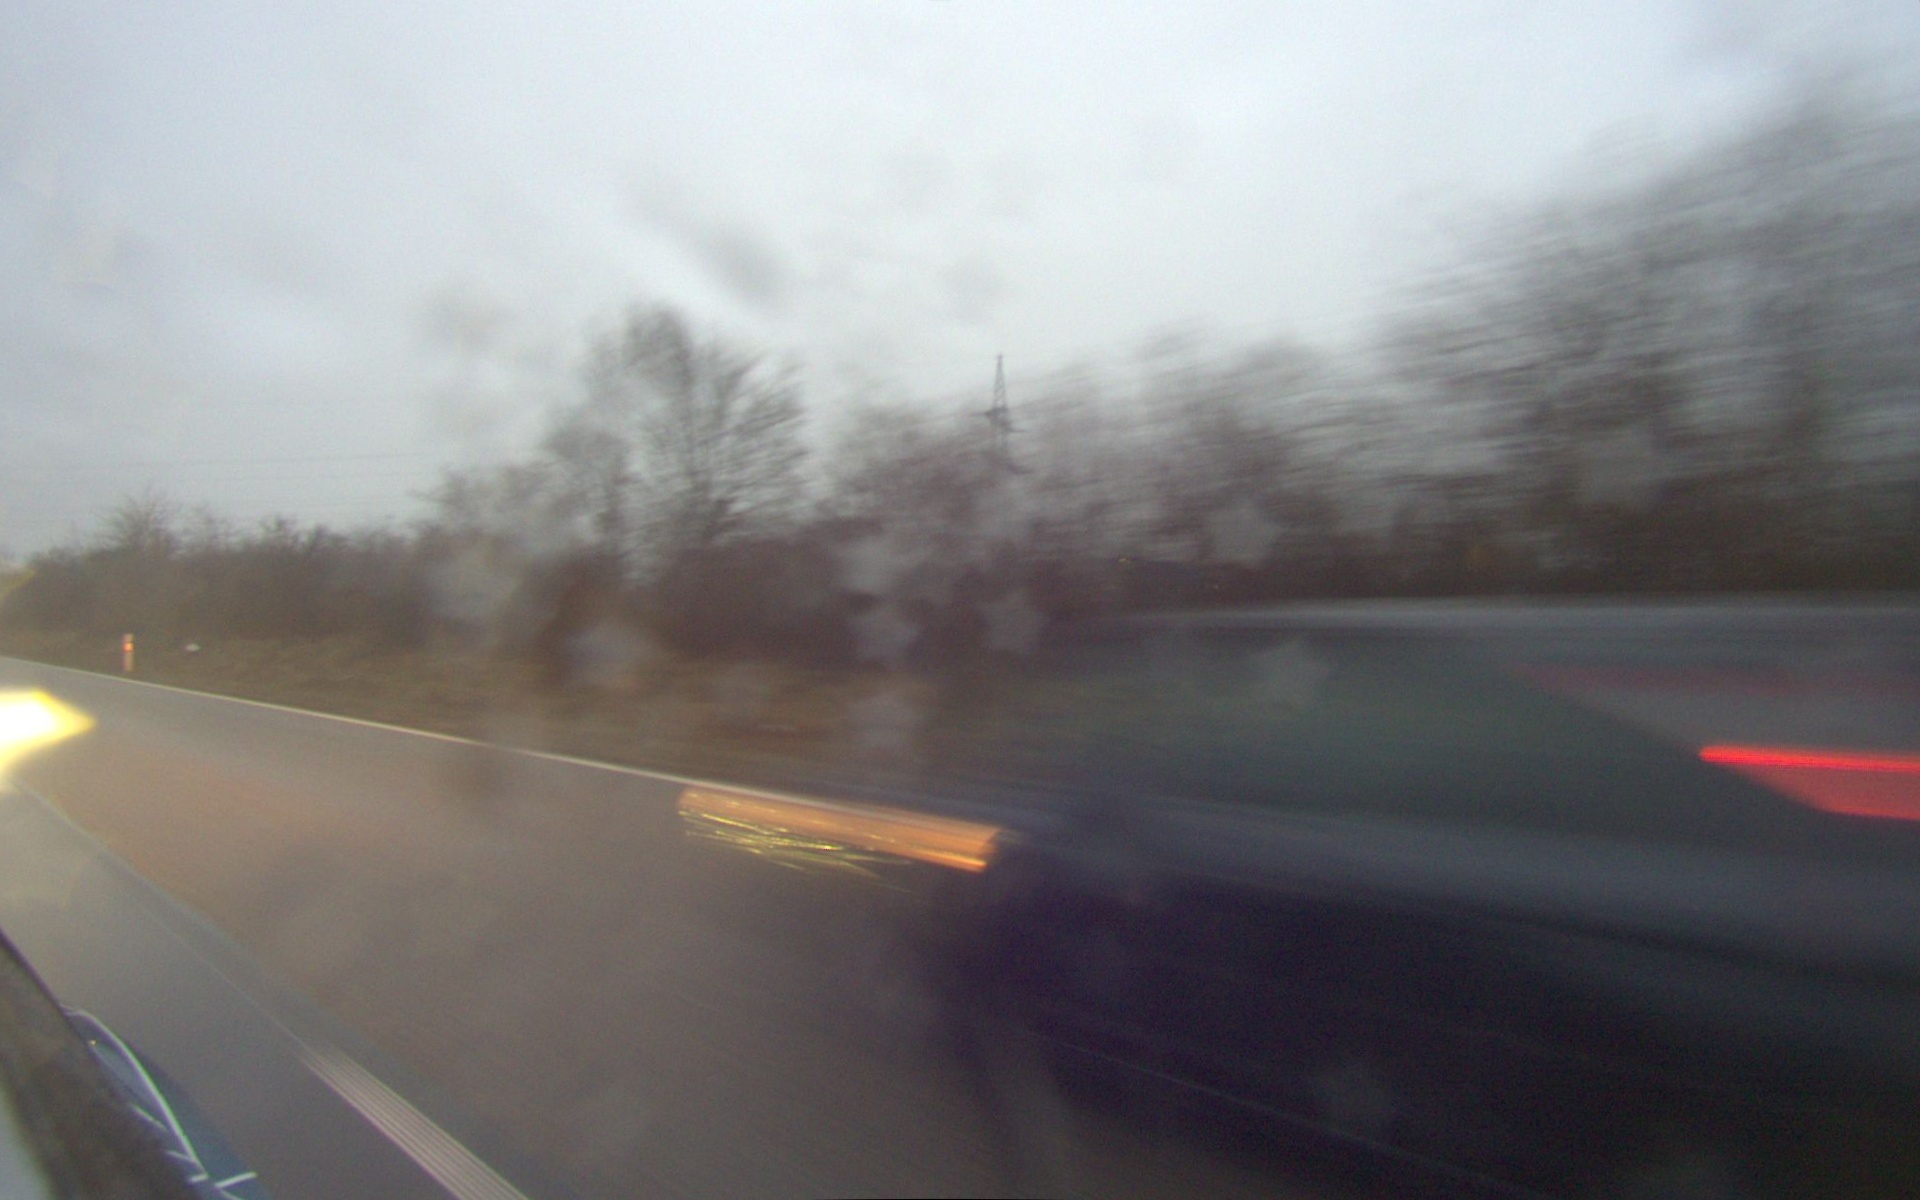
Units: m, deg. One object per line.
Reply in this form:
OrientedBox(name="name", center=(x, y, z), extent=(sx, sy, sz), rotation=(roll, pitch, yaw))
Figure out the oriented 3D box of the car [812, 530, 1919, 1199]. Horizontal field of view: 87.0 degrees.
OrientedBox(name="car", center=(1.542, 0.642, 2.707), extent=(3.889, 1.485, 1.733), rotation=(-1, -1, 41))
